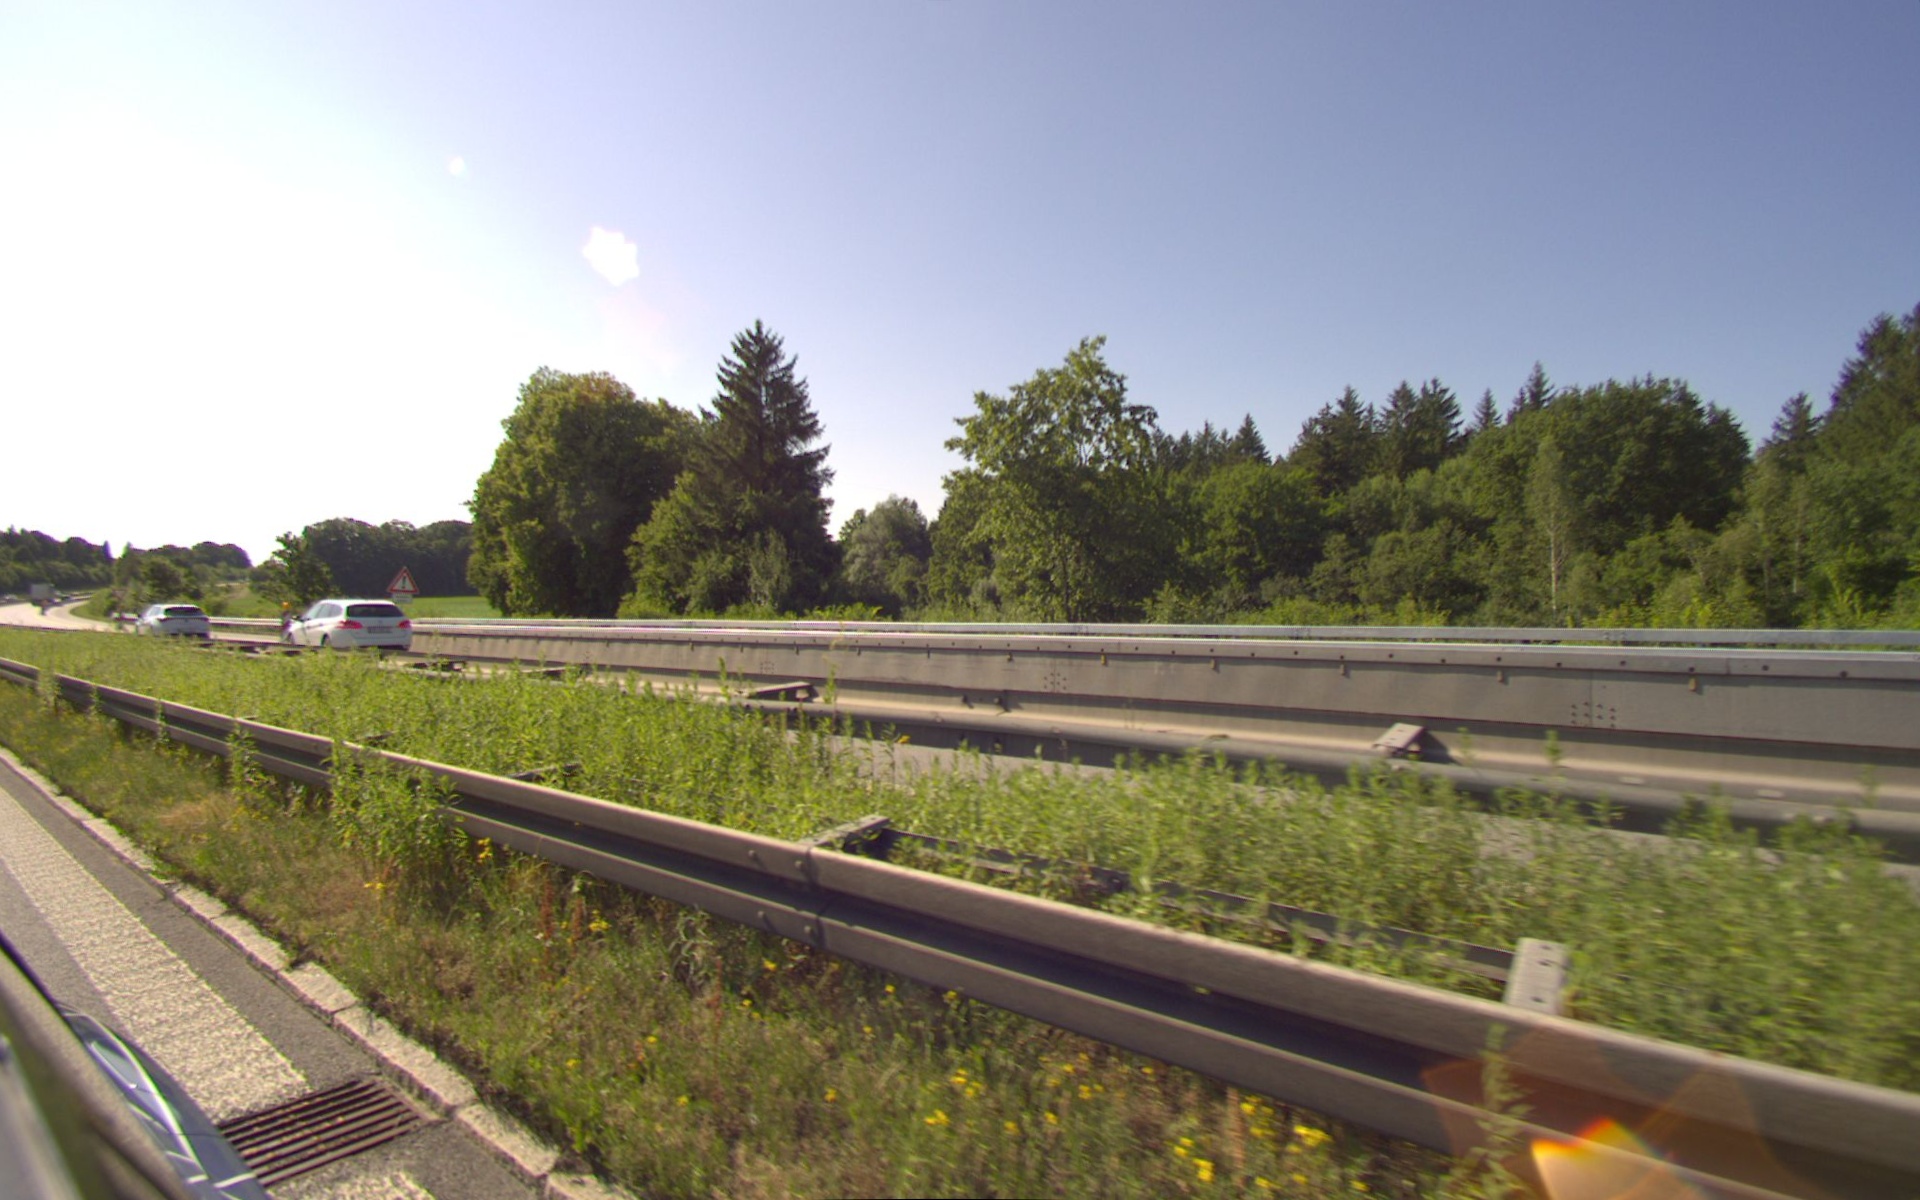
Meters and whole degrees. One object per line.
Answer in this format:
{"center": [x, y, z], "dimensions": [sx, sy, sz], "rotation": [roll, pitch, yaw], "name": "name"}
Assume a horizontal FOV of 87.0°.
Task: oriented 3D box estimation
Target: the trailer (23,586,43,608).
{"center": [-174.279, -0.521, 190.196], "dimensions": [2.647, 3.984, 13.781], "rotation": [1, -1, -43], "name": "trailer"}

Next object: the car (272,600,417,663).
{"center": [-15.501, 0.770, 25.357], "dimensions": [4.953, 1.443, 1.683], "rotation": [-1, -2, 41], "name": "car"}

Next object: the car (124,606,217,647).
{"center": [-29.900, 0.976, 38.278], "dimensions": [4.981, 1.443, 1.863], "rotation": [-1, 0, 41], "name": "car"}

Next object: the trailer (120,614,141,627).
{"center": [-71.399, 1.765, 87.130], "dimensions": [3.425, 1.060, 0.982], "rotation": [-1, 3, 45], "name": "trailer"}
